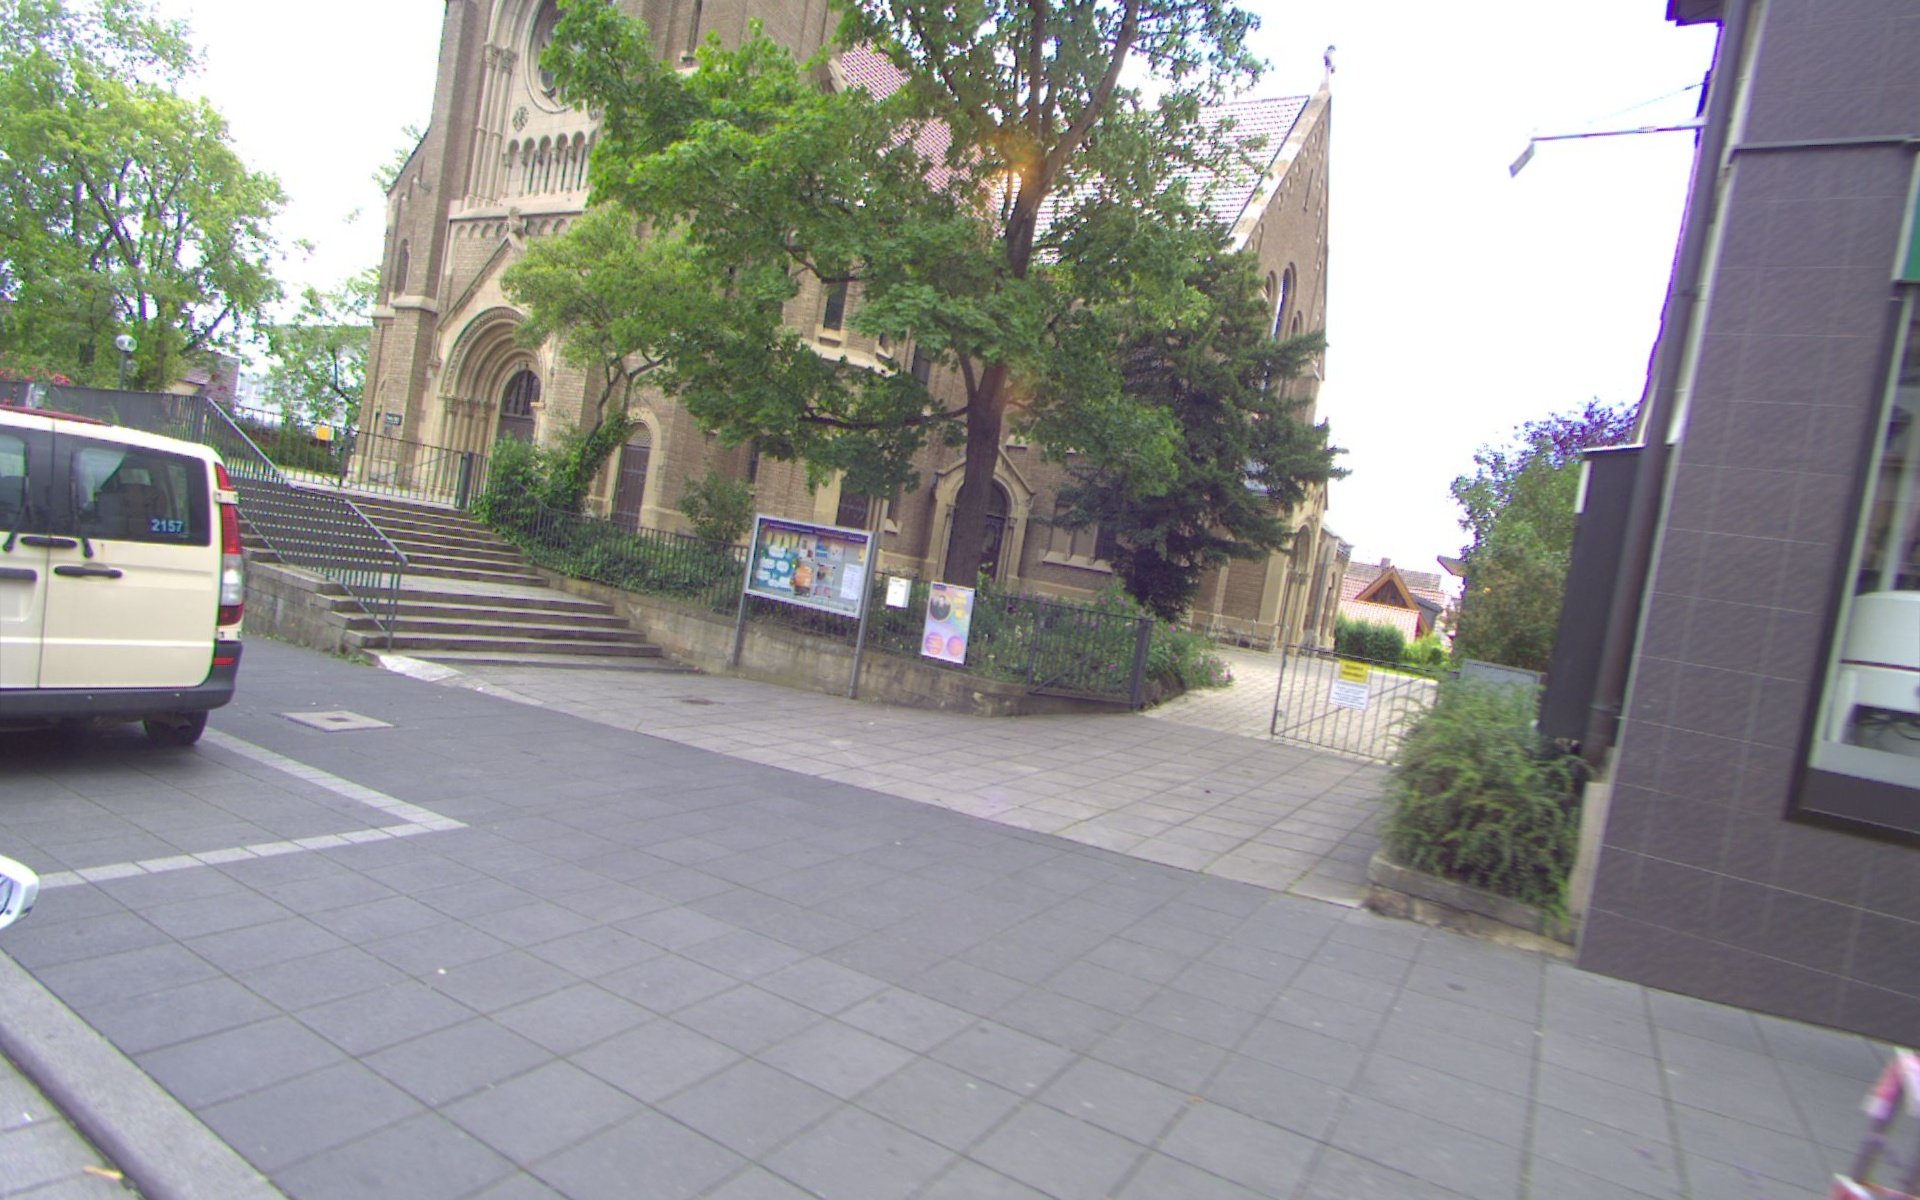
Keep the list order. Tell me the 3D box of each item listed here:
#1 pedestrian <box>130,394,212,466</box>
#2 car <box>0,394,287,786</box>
[{"bbox_3d":[-16.226,-3.476,20.694,0.968,1.246,0.991,7,0,34],"label":"pedestrian"},{"bbox_3d":[-6.393,-0.279,6.438,4.633,1.916,1.936,8,3,36],"label":"car"}]
